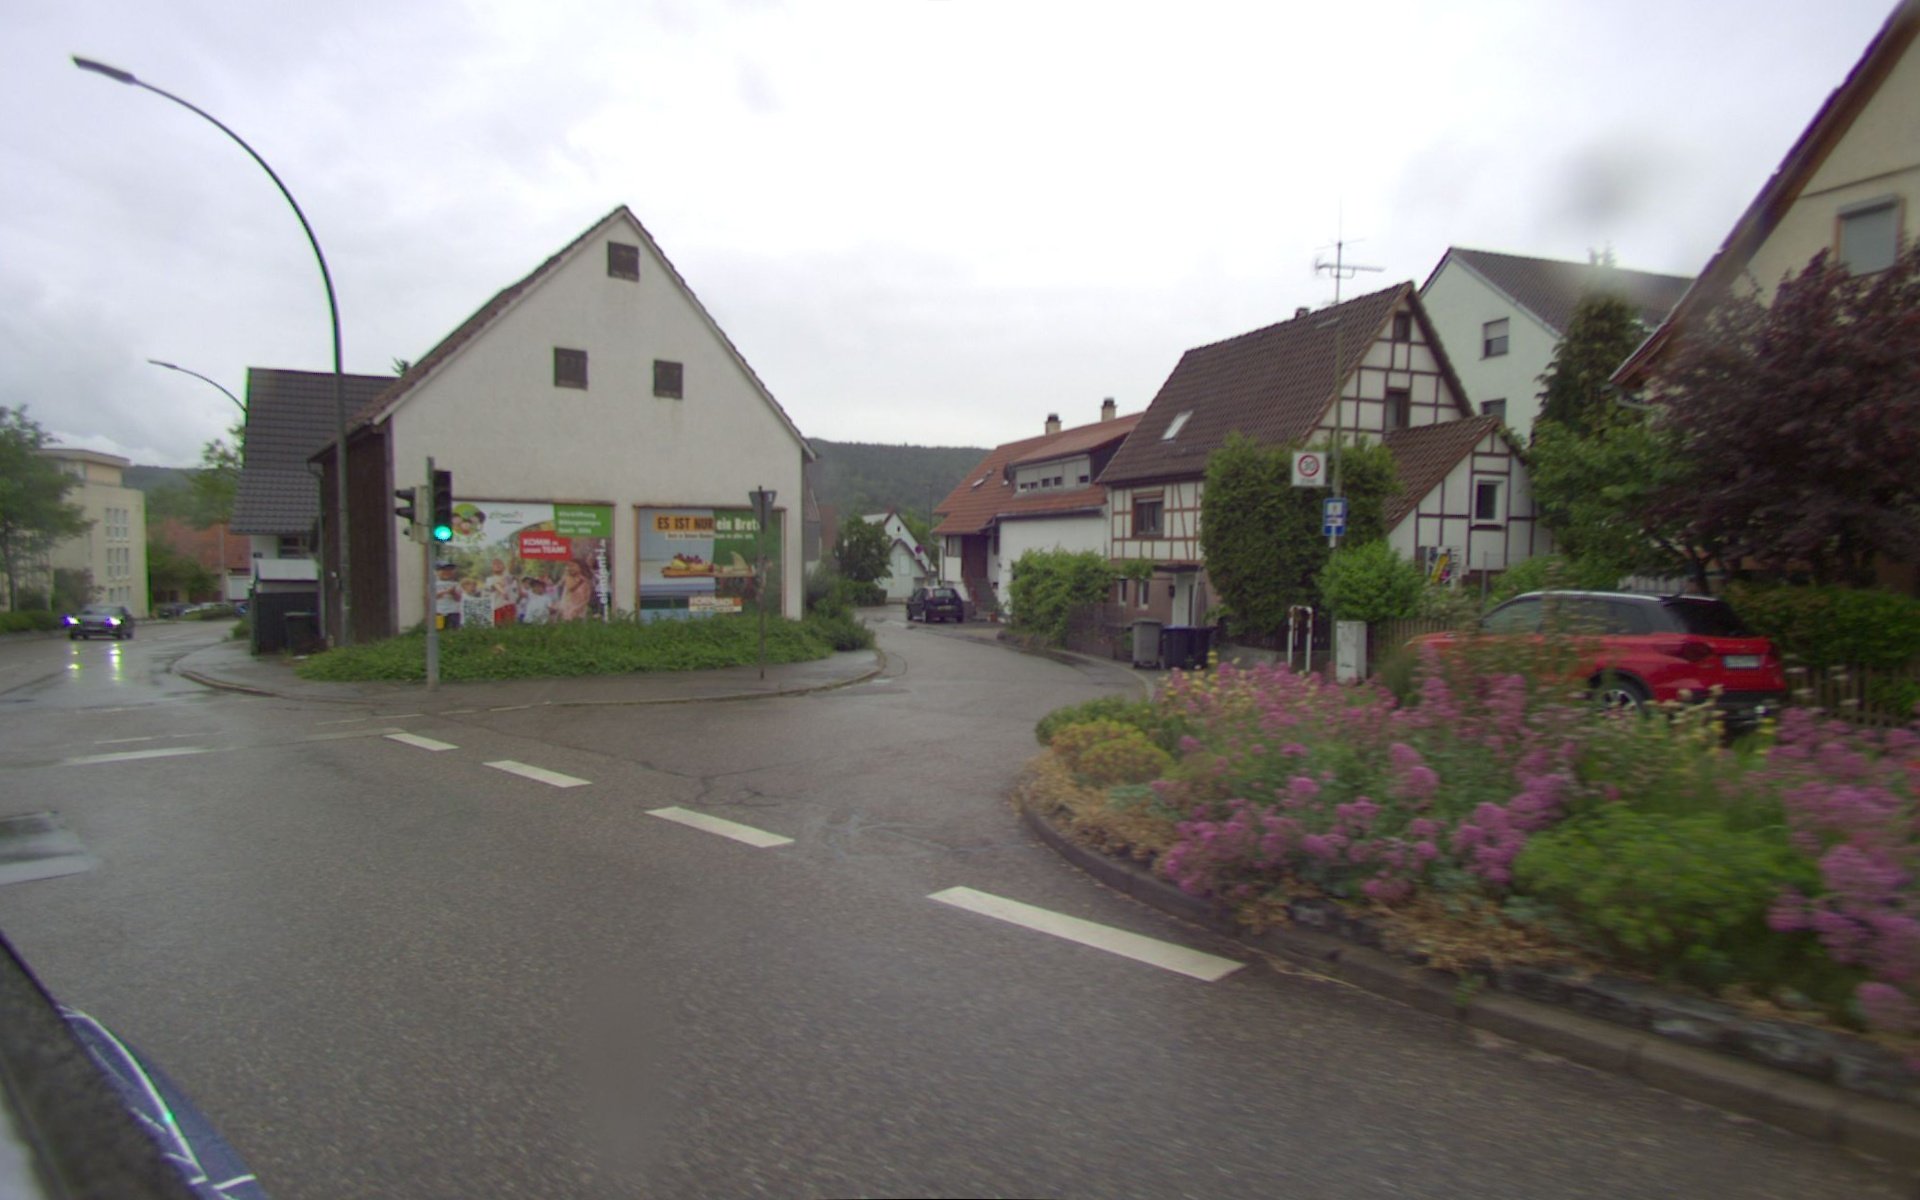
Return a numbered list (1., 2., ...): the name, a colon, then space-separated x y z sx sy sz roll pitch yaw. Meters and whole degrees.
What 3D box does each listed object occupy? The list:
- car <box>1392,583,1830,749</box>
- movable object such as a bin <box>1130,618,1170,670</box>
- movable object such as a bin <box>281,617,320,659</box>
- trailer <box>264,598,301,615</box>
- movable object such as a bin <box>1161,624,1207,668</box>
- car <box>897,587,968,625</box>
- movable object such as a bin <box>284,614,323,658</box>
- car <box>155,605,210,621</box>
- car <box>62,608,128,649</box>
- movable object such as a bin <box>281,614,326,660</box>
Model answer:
1. car: 7.260 0.631 11.813 1.724 1.574 4.032 0 0 -21
2. movable object such as a bin: 3.979 0.923 21.253 0.569 1.053 0.653 -1 0 -17
3. movable object such as a bin: -17.579 1.002 26.963 0.825 1.066 0.613 -2 2 -36
4. trailer: -67.534 0.660 100.852 2.684 1.661 1.413 -1 1 -3
5. movable object such as a bin: 4.736 0.968 21.416 0.692 0.894 0.653 -1 0 -17
6. car: -1.196 0.239 42.261 1.700 1.504 3.982 0 0 -21
7. movable object such as a bin: -17.155 0.926 26.453 0.806 1.069 0.598 -2 2 -36
8. car: -72.867 1.206 94.961 1.857 1.386 3.993 -1 1 6
9. car: -37.246 1.189 43.661 1.968 1.541 4.008 -1 1 -38
10. movable object such as a bin: -16.817 0.939 25.915 0.885 1.086 0.653 -3 2 -36
